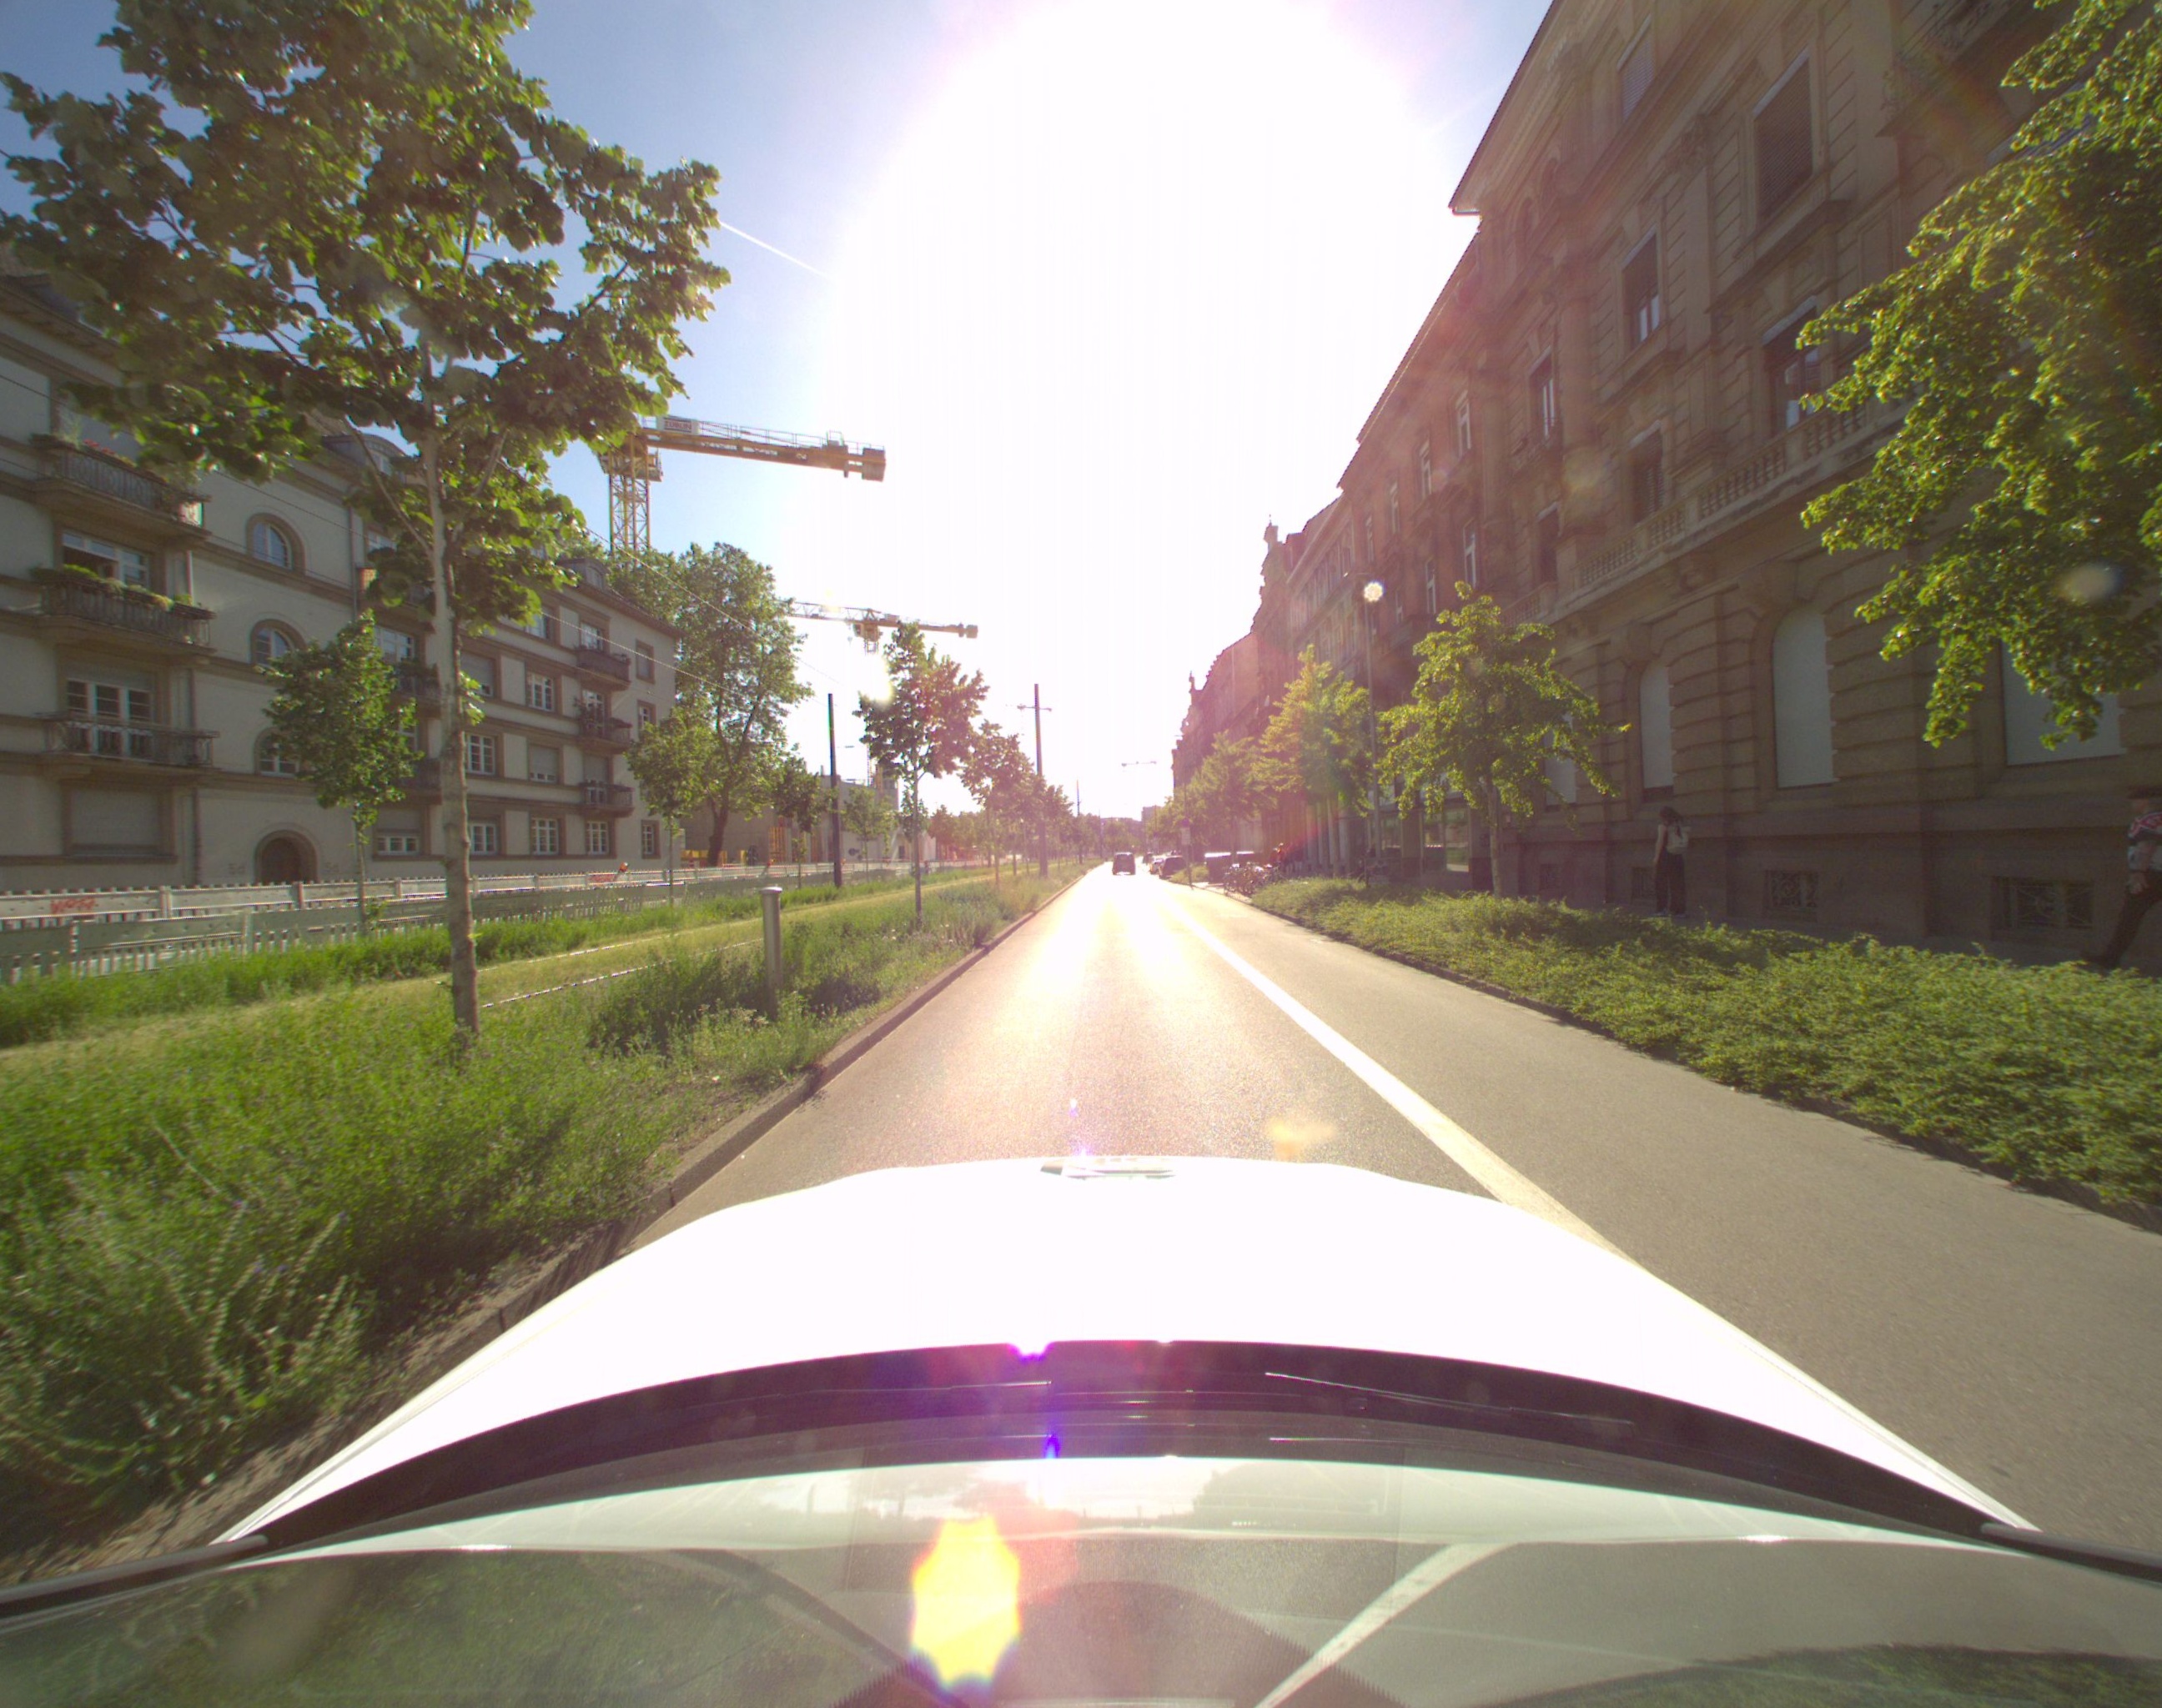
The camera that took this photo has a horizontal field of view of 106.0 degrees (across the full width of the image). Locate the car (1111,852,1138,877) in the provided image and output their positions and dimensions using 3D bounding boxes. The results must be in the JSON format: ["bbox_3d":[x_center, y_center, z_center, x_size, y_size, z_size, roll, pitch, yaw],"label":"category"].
[{"bbox_3d":[3.624,0.865,68.680,1.987,2.014,3.998,-1,-1,-1],"label":"car"}]

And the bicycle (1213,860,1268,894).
[{"bbox_3d":[6.232,0.890,31.814,1.970,1.124,0.481,-6,0,-4],"label":"bicycle"}]

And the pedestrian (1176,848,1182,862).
[{"bbox_3d":[14.602,0.174,121.790,0.814,2.014,1.046,-1,-3,2],"label":"pedestrian"}]

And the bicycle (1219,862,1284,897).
[{"bbox_3d":[6.261,0.921,29.975,2.287,1.102,0.484,-4,-1,-13],"label":"bicycle"}]

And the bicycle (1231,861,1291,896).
[{"bbox_3d":[6.365,0.874,28.807,1.971,1.108,0.435,-4,-1,-1],"label":"bicycle"}]

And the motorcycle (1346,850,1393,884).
[{"bbox_3d":[11.162,0.508,31.631,0.862,1.266,2.983,-1,-1,2],"label":"motorcycle"}]

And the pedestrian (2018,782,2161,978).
[{"bbox_3d":[9.808,0.197,7.494,0.965,1.692,1.115,-4,-1,3],"label":"pedestrian"}]

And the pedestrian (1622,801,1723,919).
[{"bbox_3d":[10.199,0.102,14.094,0.885,1.920,1.100,-4,-1,7],"label":"pedestrian"}]

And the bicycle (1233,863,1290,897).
[{"bbox_3d":[6.310,0.903,28.464,1.811,1.056,0.571,-4,-1,-4],"label":"bicycle"}]

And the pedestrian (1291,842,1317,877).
[{"bbox_3d":[11.002,0.269,40.232,0.967,1.639,0.993,-3,0,2],"label":"pedestrian"}]

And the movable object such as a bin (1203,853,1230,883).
[{"bbox_3d":[6.984,0.710,42.051,1.264,1.463,1.647,-1,2,7],"label":"movable object such as a bin"}]

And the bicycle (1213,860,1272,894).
[{"bbox_3d":[6.223,0.882,31.406,2.040,1.107,0.610,-5,-1,-4],"label":"bicycle"}]

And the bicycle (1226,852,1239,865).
[{"bbox_3d":[13.234,0.415,71.263,0.718,1.090,2.200,-3,0,2],"label":"bicycle"}]

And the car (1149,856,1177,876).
[{"bbox_3d":[6.757,0.988,67.662,1.944,1.495,5.108,-4,-1,2],"label":"car"}]

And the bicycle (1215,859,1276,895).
[{"bbox_3d":[6.131,0.851,30.324,2.148,1.154,0.428,-5,0,-12],"label":"bicycle"}]

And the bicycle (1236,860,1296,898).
[{"bbox_3d":[6.203,0.845,27.348,1.860,1.179,0.373,-3,-1,-1],"label":"bicycle"}]

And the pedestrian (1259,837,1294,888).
[{"bbox_3d":[6.950,0.300,28.988,0.897,1.735,0.849,-6,-1,0],"label":"pedestrian"}]

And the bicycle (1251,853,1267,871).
[{"bbox_3d":[12.447,0.591,57.070,0.745,1.201,1.802,-3,-1,2],"label":"bicycle"}]

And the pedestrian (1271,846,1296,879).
[{"bbox_3d":[10.016,0.406,40.279,0.947,1.566,1.080,-3,1,1],"label":"pedestrian"}]

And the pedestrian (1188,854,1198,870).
[{"bbox_3d":[12.641,0.879,91.879,0.992,1.731,0.866,-1,-1,1],"label":"pedestrian"}]

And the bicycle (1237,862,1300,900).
[{"bbox_3d":[6.212,0.898,26.993,1.887,1.108,0.517,-4,-1,-4],"label":"bicycle"}]

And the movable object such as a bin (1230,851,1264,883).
[{"bbox_3d":[8.580,0.669,42.186,1.368,1.495,1.750,-4,-1,3],"label":"movable object such as a bin"}]

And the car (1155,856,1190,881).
[{"bbox_3d":[6.140,0.973,54.960,1.760,1.477,4.447,-4,-1,0],"label":"car"}]

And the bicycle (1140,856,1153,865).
[{"bbox_3d":[10.038,1.036,124.991,1.875,1.233,0.499,-4,-1,-4],"label":"bicycle"}]
